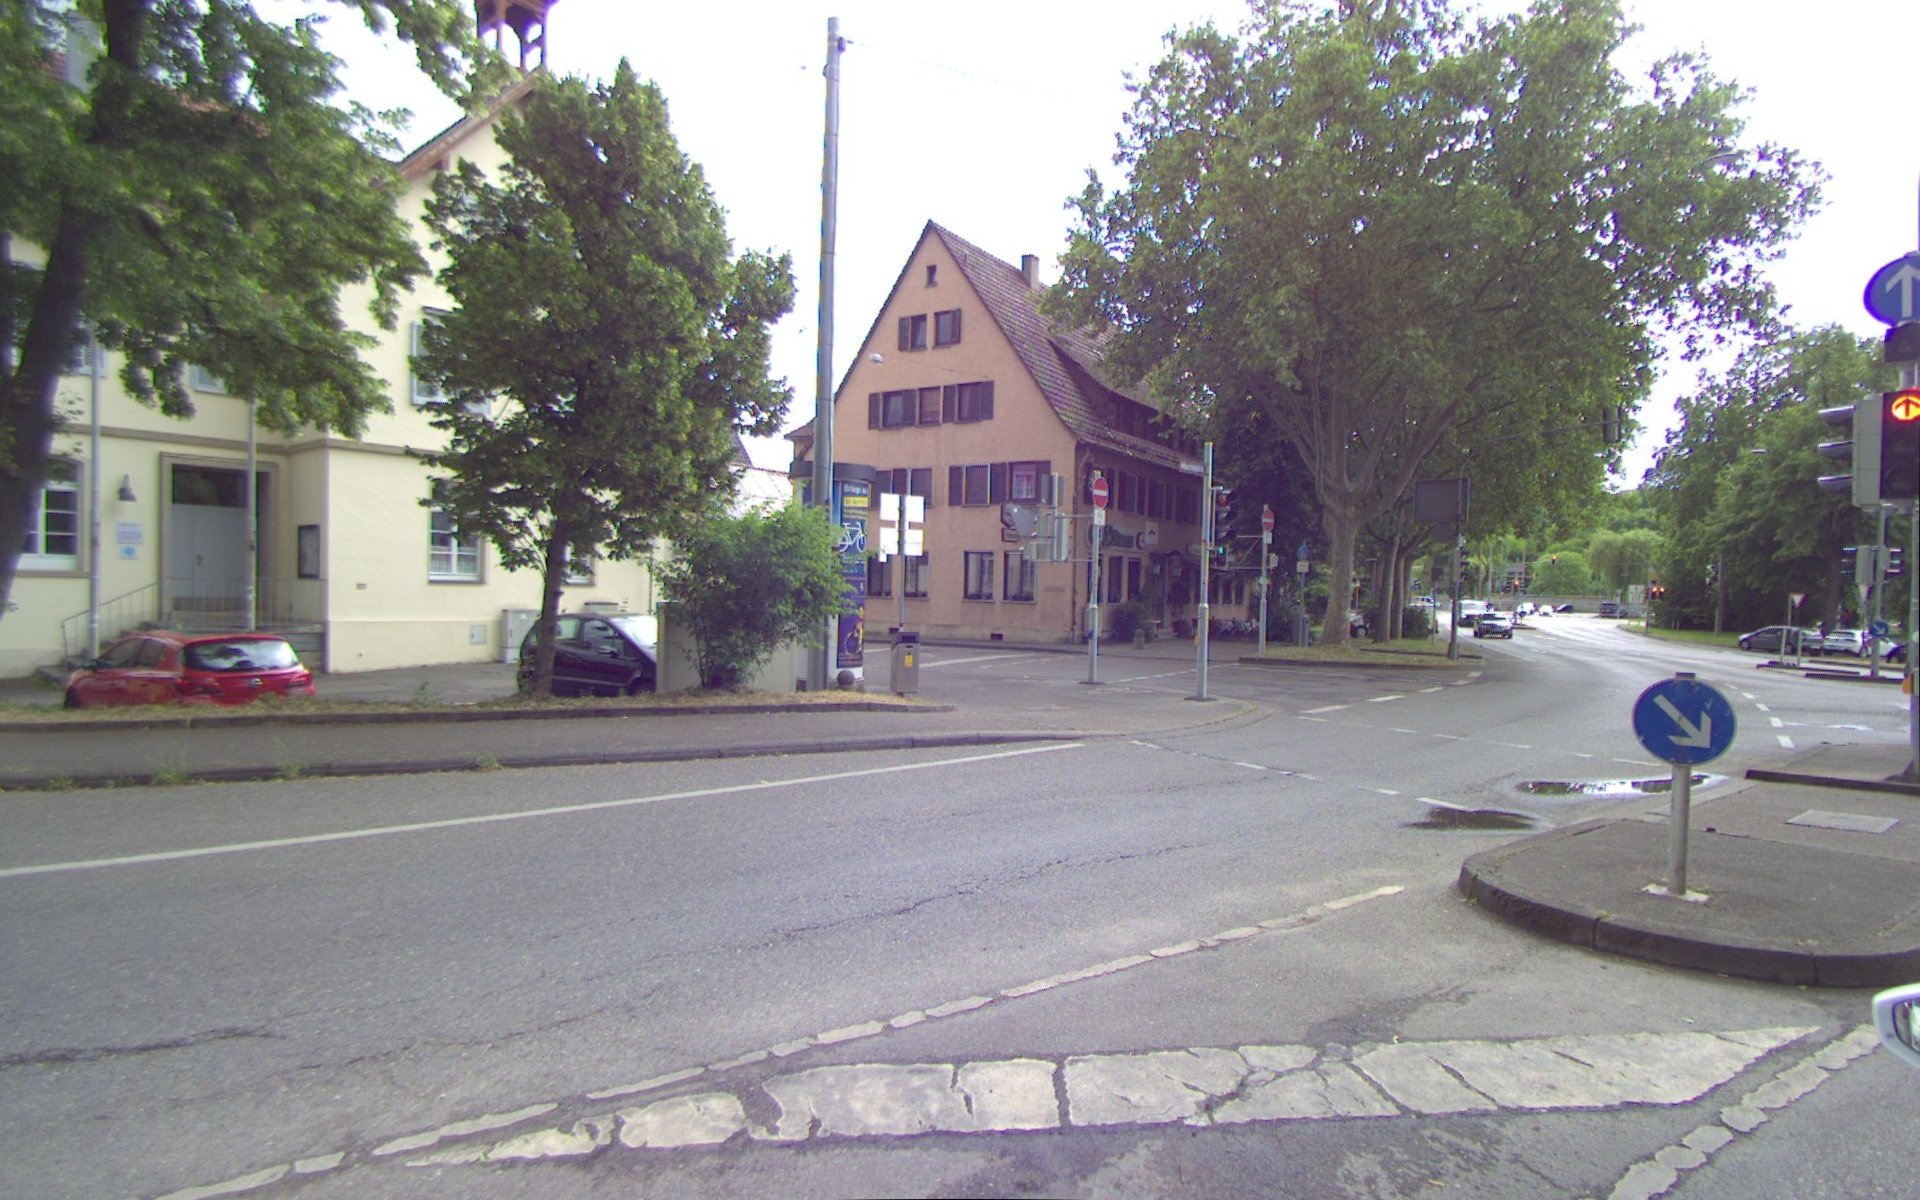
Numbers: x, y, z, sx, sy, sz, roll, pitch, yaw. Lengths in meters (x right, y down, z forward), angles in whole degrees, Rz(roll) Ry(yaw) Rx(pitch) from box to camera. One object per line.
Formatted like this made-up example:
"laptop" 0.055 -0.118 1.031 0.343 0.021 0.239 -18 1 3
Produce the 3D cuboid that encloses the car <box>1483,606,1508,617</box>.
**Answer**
"car" 100.710 2.146 188.934 3.928 2.040 1.996 2 0 30

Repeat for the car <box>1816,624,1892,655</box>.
"car" 47.300 2.085 53.157 3.342 1.484 1.543 2 0 -19

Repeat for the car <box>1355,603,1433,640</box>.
"car" 21.407 1.050 49.579 3.387 1.663 1.570 2 0 28

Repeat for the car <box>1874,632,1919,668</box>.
"car" 39.567 2.080 40.941 1.442 1.412 3.596 2 0 3

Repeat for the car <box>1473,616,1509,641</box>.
"car" 31.131 1.663 58.922 1.404 1.435 2.872 1 -1 19

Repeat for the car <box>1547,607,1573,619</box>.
"car" 108.224 2.334 181.088 3.928 2.040 1.996 2 0 30

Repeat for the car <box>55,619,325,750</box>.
"car" -10.176 1.011 13.241 3.492 1.397 1.605 2 0 30

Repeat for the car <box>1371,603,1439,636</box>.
"car" 25.467 1.089 57.463 3.387 1.765 1.570 2 0 28

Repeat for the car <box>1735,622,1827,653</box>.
"car" 43.861 1.972 53.757 1.559 1.484 3.543 2 0 -17

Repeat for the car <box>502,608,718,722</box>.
"car" -5.765 1.004 16.589 3.035 1.654 1.607 2 0 22

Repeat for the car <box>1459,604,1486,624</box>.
"car" 37.788 1.036 74.098 1.404 1.435 2.872 1 -1 19
